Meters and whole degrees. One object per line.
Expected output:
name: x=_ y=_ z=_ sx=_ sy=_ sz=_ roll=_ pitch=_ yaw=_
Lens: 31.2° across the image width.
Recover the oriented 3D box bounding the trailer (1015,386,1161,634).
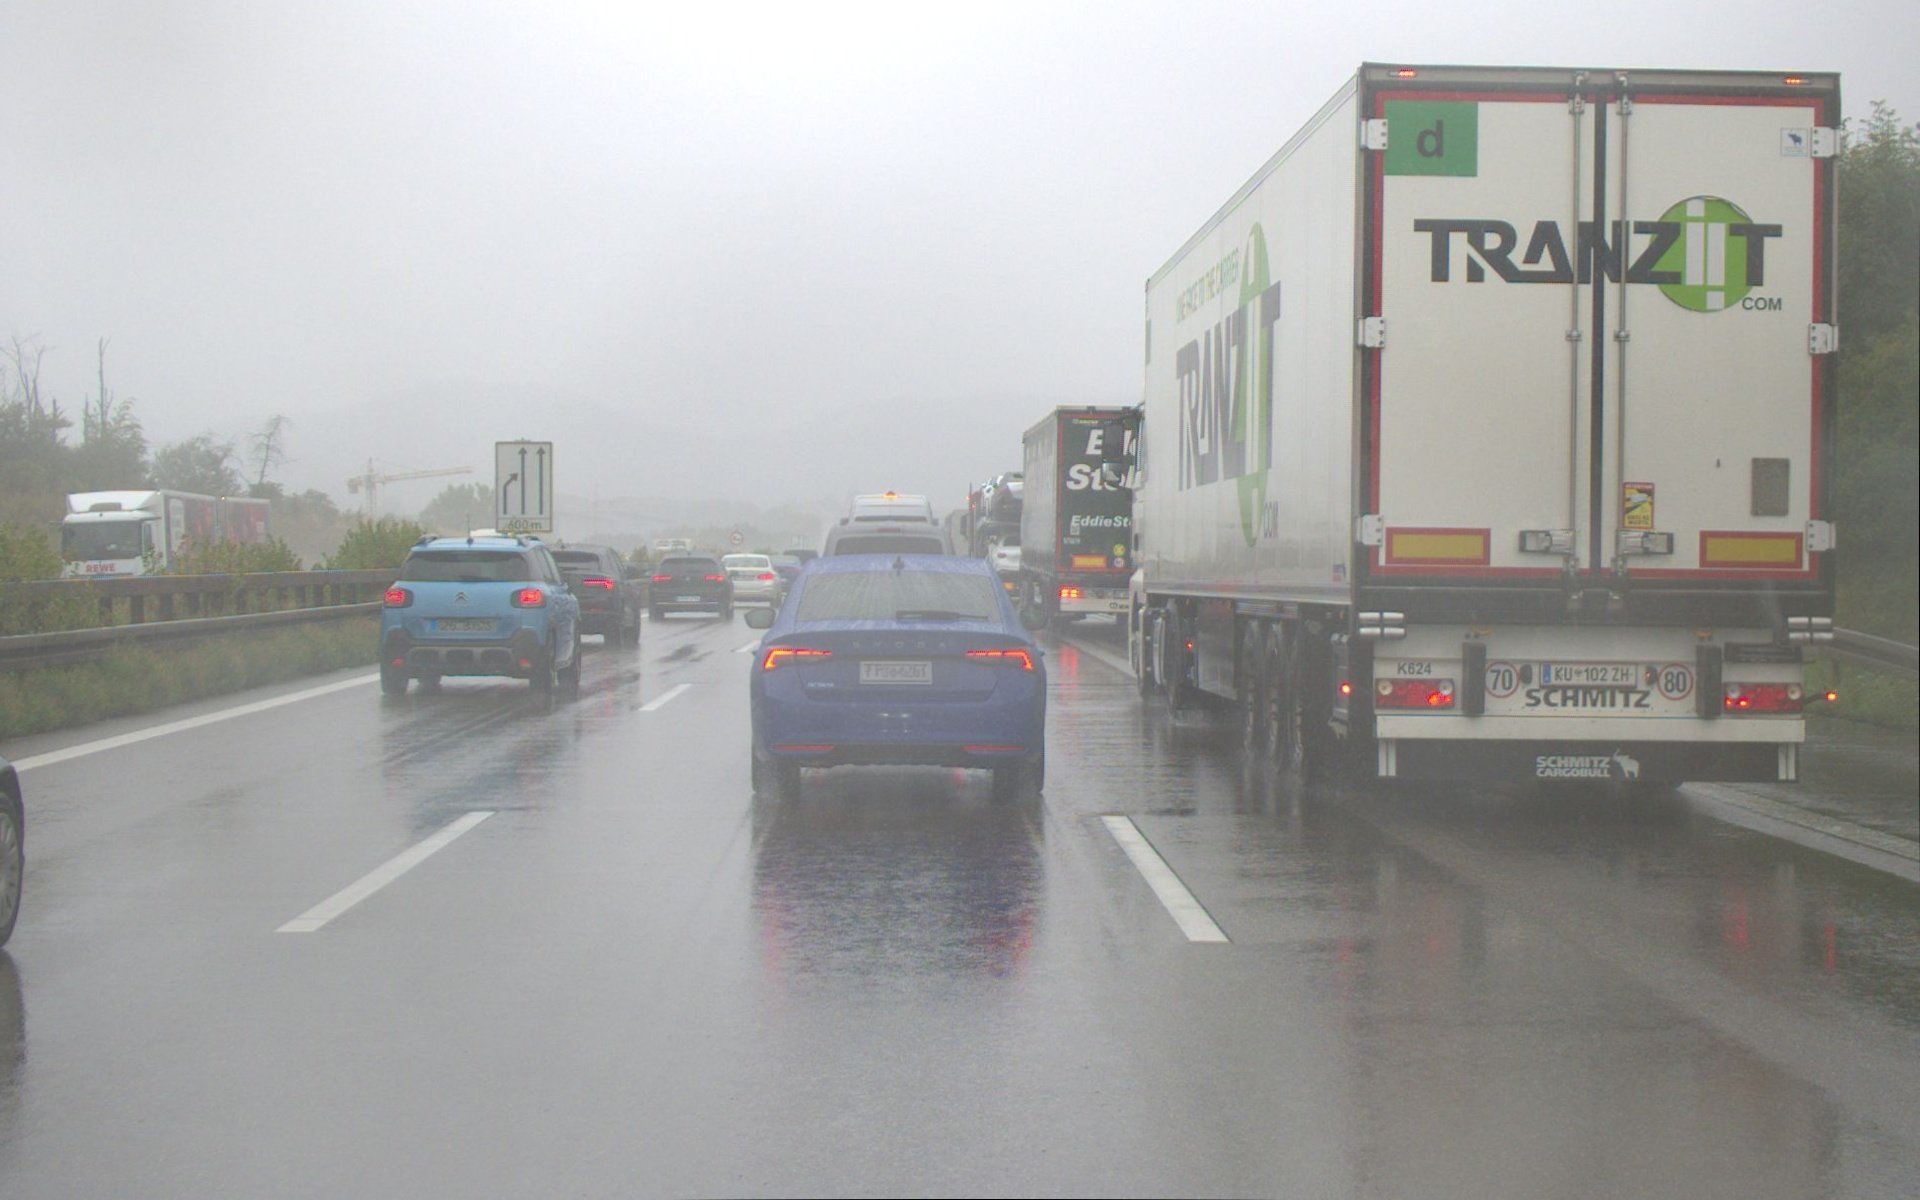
trailer: x=2.240 y=-1.624 z=63.597 sx=2.047 sy=4.162 sz=11.449 roll=0 pitch=1 yaw=-1

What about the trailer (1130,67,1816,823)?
trailer: x=3.089 y=-0.958 z=25.582 sx=2.630 sy=3.999 sz=14.630 roll=0 pitch=1 yaw=-1

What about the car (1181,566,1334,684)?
car: x=3.429 y=0.259 z=40.090 sx=1.423 sy=1.284 sz=3.461 roll=0 pitch=1 yaw=-1

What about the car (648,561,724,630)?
car: x=-5.920 y=-0.114 z=74.555 sx=1.439 sy=1.415 sz=3.322 roll=0 pitch=1 yaw=-1

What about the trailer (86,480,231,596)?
trailer: x=-22.287 y=-1.732 z=96.068 sx=1.993 sy=3.071 sz=9.556 roll=0 pitch=1 yaw=-1

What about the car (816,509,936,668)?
car: x=-0.971 y=-0.160 z=40.044 sx=1.336 sy=1.774 sz=3.322 roll=0 pitch=1 yaw=-1

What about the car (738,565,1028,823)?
car: x=-0.447 y=0.511 z=21.434 sx=1.635 sy=1.440 sz=4.000 roll=0 pitch=1 yaw=0

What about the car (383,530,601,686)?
car: x=-4.798 y=0.052 z=35.690 sx=1.721 sy=1.518 sz=4.000 roll=0 pitch=1 yaw=0

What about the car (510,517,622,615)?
car: x=-5.913 y=-0.523 z=51.839 sx=1.359 sy=1.426 sz=3.364 roll=0 pitch=1 yaw=-1

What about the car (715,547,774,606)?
car: x=-5.735 y=-0.644 z=91.806 sx=1.439 sy=1.528 sz=3.322 roll=0 pitch=1 yaw=-1

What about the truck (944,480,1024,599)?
truck: x=0.659 y=-1.832 z=102.444 sx=1.993 sy=3.410 sz=8.033 roll=0 pitch=1 yaw=-2

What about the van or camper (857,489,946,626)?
van or camper: x=-1.242 y=-0.912 z=72.581 sx=1.797 sy=2.797 sz=4.768 roll=0 pitch=1 yaw=-1

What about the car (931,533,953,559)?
car: x=-1.264 y=-3.760 z=238.283 sx=1.448 sy=1.777 sz=3.409 roll=1 pitch=1 yaw=-1

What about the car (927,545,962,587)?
car: x=-0.683 y=-1.491 z=150.190 sx=1.448 sy=1.777 sz=3.409 roll=1 pitch=1 yaw=-1

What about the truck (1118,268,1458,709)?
truck: x=2.960 y=-1.010 z=32.255 sx=2.630 sy=3.814 sz=4.791 roll=0 pitch=1 yaw=-1

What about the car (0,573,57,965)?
car: x=-4.310 y=0.623 z=10.907 sx=1.718 sy=1.395 sz=4.230 roll=0 pitch=1 yaw=1

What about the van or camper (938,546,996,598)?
van or camper: x=0.220 y=-0.925 z=112.170 sx=1.771 sy=1.619 sz=4.484 roll=0 pitch=1 yaw=-1

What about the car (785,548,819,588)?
car: x=-7.306 y=-1.484 z=159.021 sx=1.448 sy=1.777 sz=3.409 roll=1 pitch=1 yaw=-1

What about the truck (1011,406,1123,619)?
truck: x=2.130 y=-1.761 z=69.577 sx=2.047 sy=4.178 sz=4.000 roll=0 pitch=1 yaw=-1
